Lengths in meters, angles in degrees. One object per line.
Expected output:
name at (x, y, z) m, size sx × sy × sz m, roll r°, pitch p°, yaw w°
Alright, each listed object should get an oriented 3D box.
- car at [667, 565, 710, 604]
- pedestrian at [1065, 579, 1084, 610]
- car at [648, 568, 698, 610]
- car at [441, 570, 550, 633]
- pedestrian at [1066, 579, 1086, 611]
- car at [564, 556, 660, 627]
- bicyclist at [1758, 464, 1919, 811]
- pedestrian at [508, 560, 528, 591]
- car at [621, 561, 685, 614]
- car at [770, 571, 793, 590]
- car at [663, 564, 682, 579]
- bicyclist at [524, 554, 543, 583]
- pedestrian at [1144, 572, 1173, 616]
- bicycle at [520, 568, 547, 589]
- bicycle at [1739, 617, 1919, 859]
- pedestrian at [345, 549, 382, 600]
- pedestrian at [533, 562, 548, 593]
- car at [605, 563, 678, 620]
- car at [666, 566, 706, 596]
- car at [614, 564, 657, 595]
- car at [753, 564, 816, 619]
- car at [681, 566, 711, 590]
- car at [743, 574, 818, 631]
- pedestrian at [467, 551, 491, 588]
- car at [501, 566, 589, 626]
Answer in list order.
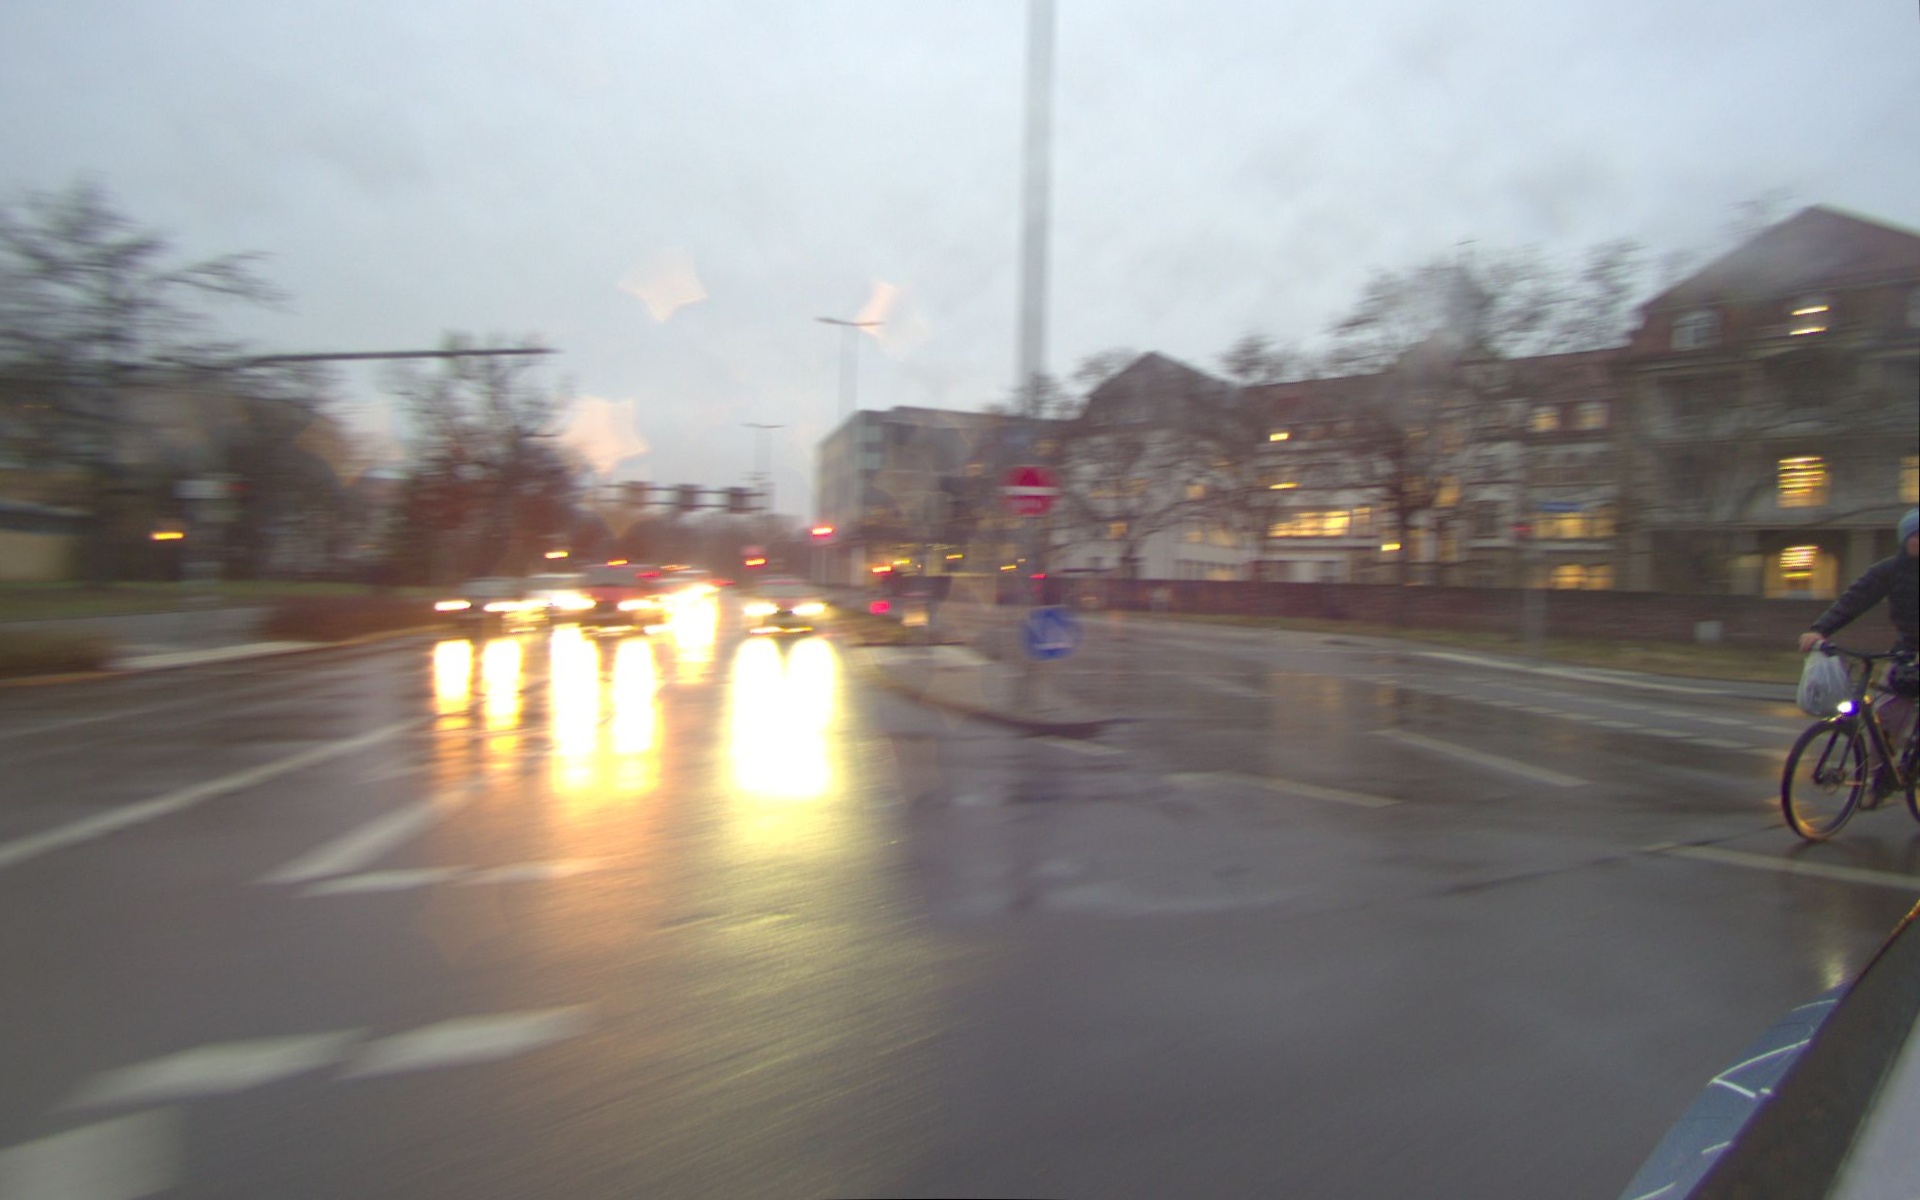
car at (-14.473, -0.835, 54.099) m, size 1.958 × 1.948 × 4.276 m, roll 2°, pitch 1°, yaw -12°
pedestrian at (7.055, -0.328, 62.202) m, size 0.791 × 1.853 × 0.950 m, roll 2°, pitch 1°, yaw -16°
car at (-13.427, -0.547, 47.519) m, size 1.958 × 1.794 × 4.008 m, roll 2°, pitch 1°, yaw -12°
car at (-12.647, -0.029, 27.819) m, size 1.737 × 1.505 × 4.480 m, roll 2°, pitch 1°, yaw -12°
pedestrian at (6.954, -0.303, 60.785) m, size 0.791 × 1.853 × 0.950 m, roll 2°, pitch 1°, yaw -16°
car at (-9.833, -0.291, 28.929) m, size 1.958 × 1.771 × 4.956 m, roll 2°, pitch 1°, yaw -12°
bicyclist at (5.728, 0.199, 6.052) m, size 1.210 × 1.906 × 1.029 m, roll 0°, pitch 1°, yaw -23°
pedestrian at (-27.093, -1.481, 62.026) m, size 0.914 × 1.848 × 0.836 m, roll 2°, pitch 1°, yaw -12°
car at (-12.144, -0.509, 40.261) m, size 1.958 × 1.927 × 4.008 m, roll 2°, pitch 1°, yaw -11°
car at (-16.686, -1.841, 94.323) m, size 1.958 × 1.587 × 4.479 m, roll 4°, pitch 0°, yaw -11°
car at (-39.183, -3.872, 137.984) m, size 2.098 × 1.838 × 4.009 m, roll 2°, pitch 1°, yaw -13°
bicyclist at (-22.807, -1.694, 54.130) m, size 0.751 × 1.508 × 0.996 m, roll 2°, pitch 1°, yaw -12°
pedestrian at (8.676, -0.256, 44.219) m, size 0.791 × 1.853 × 0.950 m, roll 2°, pitch 1°, yaw -16°
bicycle at (-22.823, -1.164, 54.179) m, size 0.778 × 1.028 × 2.910 m, roll 2°, pitch 2°, yaw -12°
bicycle at (5.703, 0.743, 6.097) m, size 1.864 × 1.238 × 0.796 m, roll 0°, pitch 1°, yaw -24°
pedestrian at (-22.411, -0.973, 38.028) m, size 0.914 × 1.848 × 0.836 m, roll 2°, pitch 1°, yaw -12°
pedestrian at (-28.004, -1.502, 67.614) m, size 0.750 × 2.038 × 0.913 m, roll 2°, pitch 1°, yaw -13°
car at (-11.005, -0.341, 35.239) m, size 1.958 × 1.771 × 4.480 m, roll 2°, pitch 1°, yaw -12°
car at (-16.229, -1.145, 60.182) m, size 1.958 × 1.587 × 4.772 m, roll 3°, pitch 1°, yaw -12°
car at (-19.108, -1.240, 59.773) m, size 1.958 × 1.687 × 4.009 m, roll 2°, pitch 1°, yaw -12°
car at (-6.454, -0.356, 36.806) m, size 1.958 × 1.771 × 4.480 m, roll 4°, pitch 1°, yaw -12°
car at (-20.181, -1.657, 77.528) m, size 1.958 × 1.720 × 4.536 m, roll 2°, pitch 1°, yaw -12°
car at (-5.206, 0.026, 28.961) m, size 1.891 × 1.393 × 4.508 m, roll 2°, pitch 1°, yaw -12°
pedestrian at (-24.919, -1.581, 52.457) m, size 0.914 × 1.848 × 0.836 m, roll 2°, pitch 1°, yaw -12°
car at (-14.092, -0.181, 34.591) m, size 1.958 × 1.860 × 4.008 m, roll 2°, pitch 1°, yaw -11°
